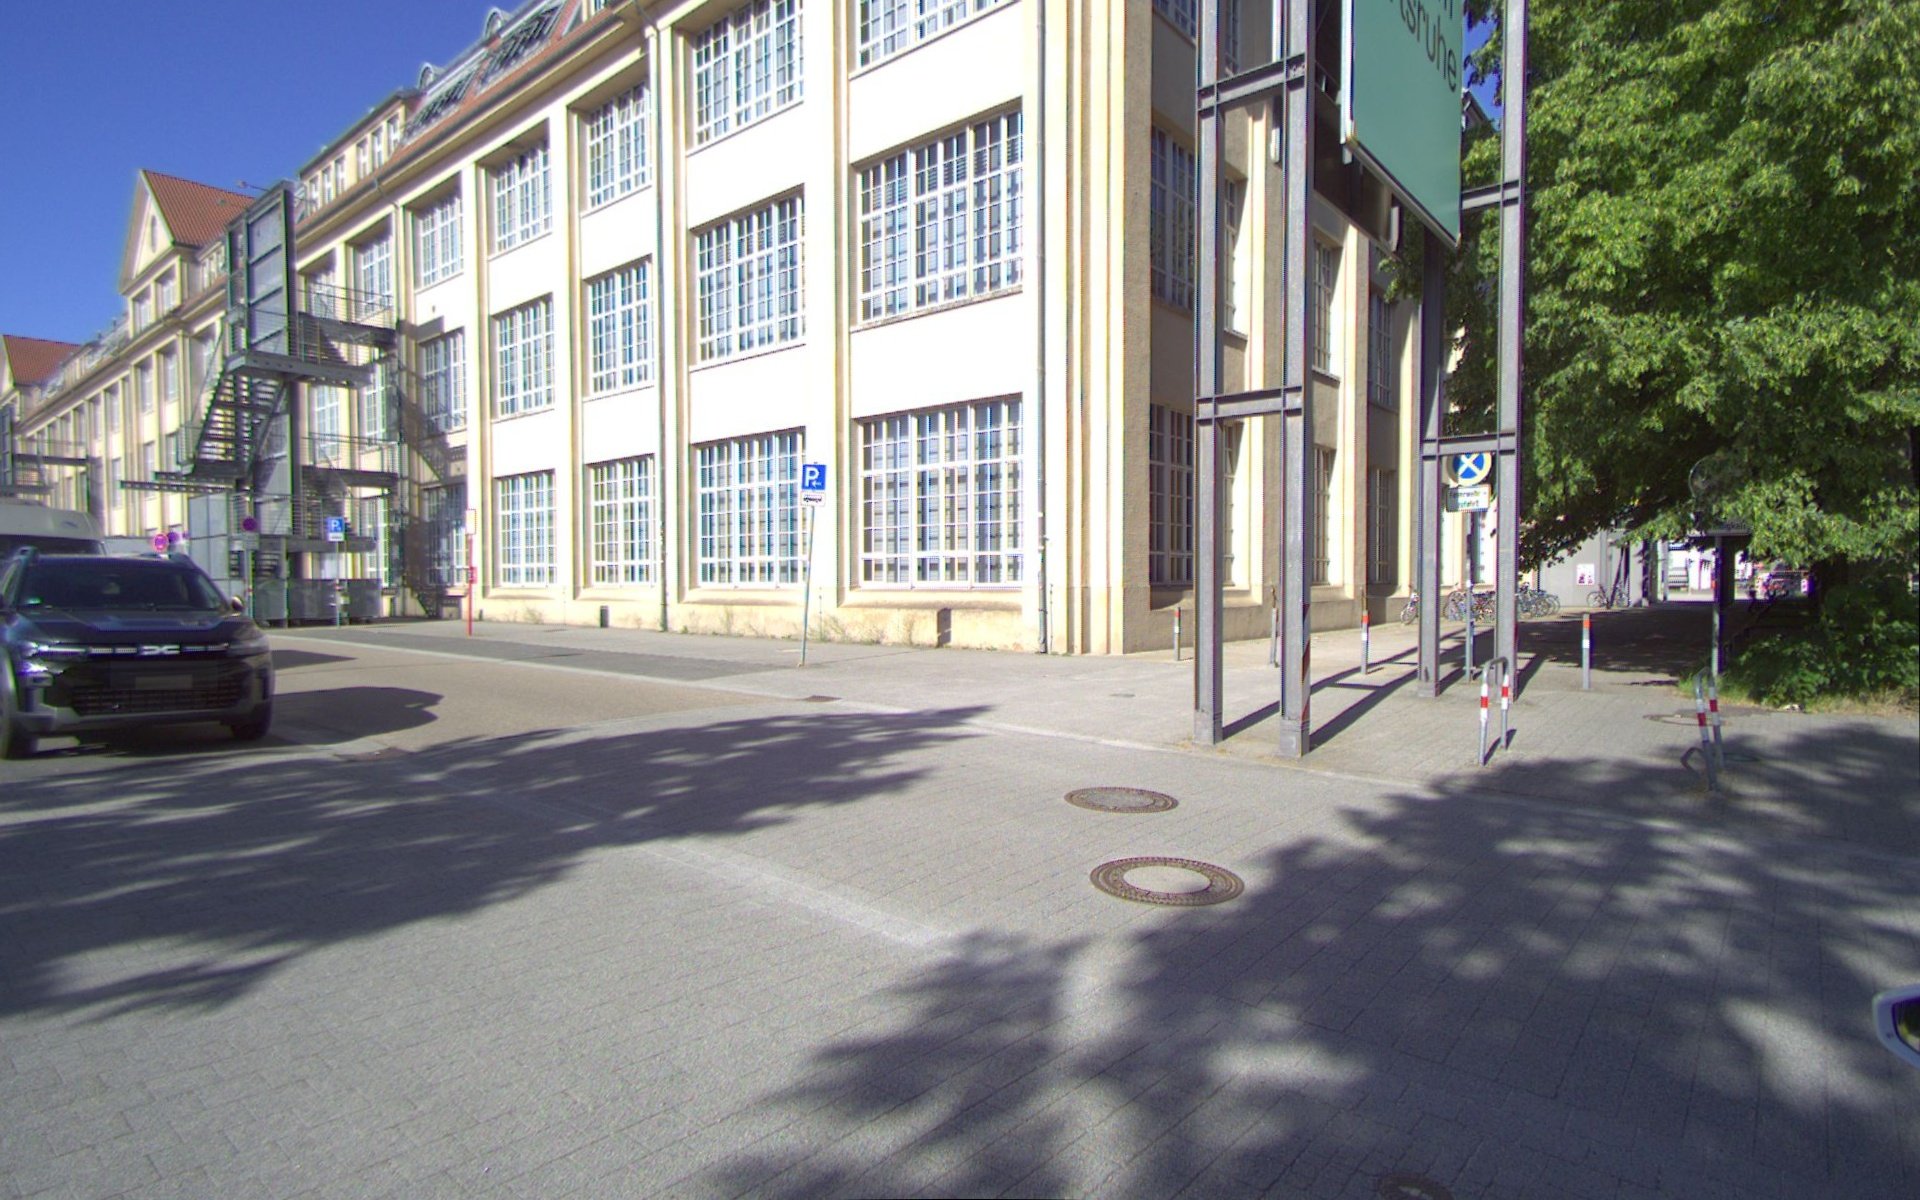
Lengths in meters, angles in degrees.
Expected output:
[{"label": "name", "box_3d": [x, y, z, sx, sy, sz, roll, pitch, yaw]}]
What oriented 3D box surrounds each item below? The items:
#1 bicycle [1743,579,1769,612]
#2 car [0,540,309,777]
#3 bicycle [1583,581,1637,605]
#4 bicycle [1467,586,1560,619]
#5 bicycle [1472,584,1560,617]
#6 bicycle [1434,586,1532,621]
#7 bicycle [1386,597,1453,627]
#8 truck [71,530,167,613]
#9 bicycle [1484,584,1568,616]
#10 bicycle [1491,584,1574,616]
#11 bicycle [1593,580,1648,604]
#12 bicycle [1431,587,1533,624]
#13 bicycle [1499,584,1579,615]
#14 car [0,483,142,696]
[{"label": "bicycle", "box_3d": [30.065, -0.190, 37.945, 0.611, 1.213, 2.124, 1, 2, 35]}, {"label": "car", "box_3d": [-7.821, 0.390, 9.365, 4.044, 1.718, 1.989, 1, 1, 43]}, {"label": "bicycle", "box_3d": [29.682, -0.344, 45.895, 2.035, 1.081, 0.503, 1, 2, 43]}, {"label": "bicycle", "box_3d": [19.255, 0.074, 34.977, 2.764, 1.077, 0.716, 1, 2, 37]}, {"label": "bicycle", "box_3d": [20.421, -0.003, 36.925, 2.764, 1.166, 0.716, 1, 2, 37]}, {"label": "bicycle", "box_3d": [17.143, 0.106, 33.009, 2.768, 1.077, 0.715, 1, 2, 41]}, {"label": "bicycle", "box_3d": [13.853, 0.350, 30.240, 2.862, 0.803, 0.771, -2, 2, -42]}, {"label": "truck", "box_3d": [-37.865, -1.267, 45.128, 7.027, 3.477, 2.486, 2, 2, 43]}, {"label": "bicycle", "box_3d": [21.437, -0.018, 38.104, 2.696, 1.166, 0.716, 1, 2, 37]}, {"label": "bicycle", "box_3d": [22.005, -0.027, 38.651, 2.696, 1.166, 0.716, 1, 2, 37]}, {"label": "bicycle", "box_3d": [30.365, -0.385, 46.212, 2.035, 1.081, 0.503, 1, 2, 43]}, {"label": "bicycle", "box_3d": [16.358, 0.146, 31.513, 2.764, 1.077, 0.716, 1, 2, 37]}, {"label": "bicycle", "box_3d": [23.108, -0.046, 40.137, 2.696, 1.166, 0.716, 1, 2, 37]}, {"label": "car", "box_3d": [-13.991, -0.177, 14.688, 6.191, 2.632, 2.153, 1, 1, 41]}]
